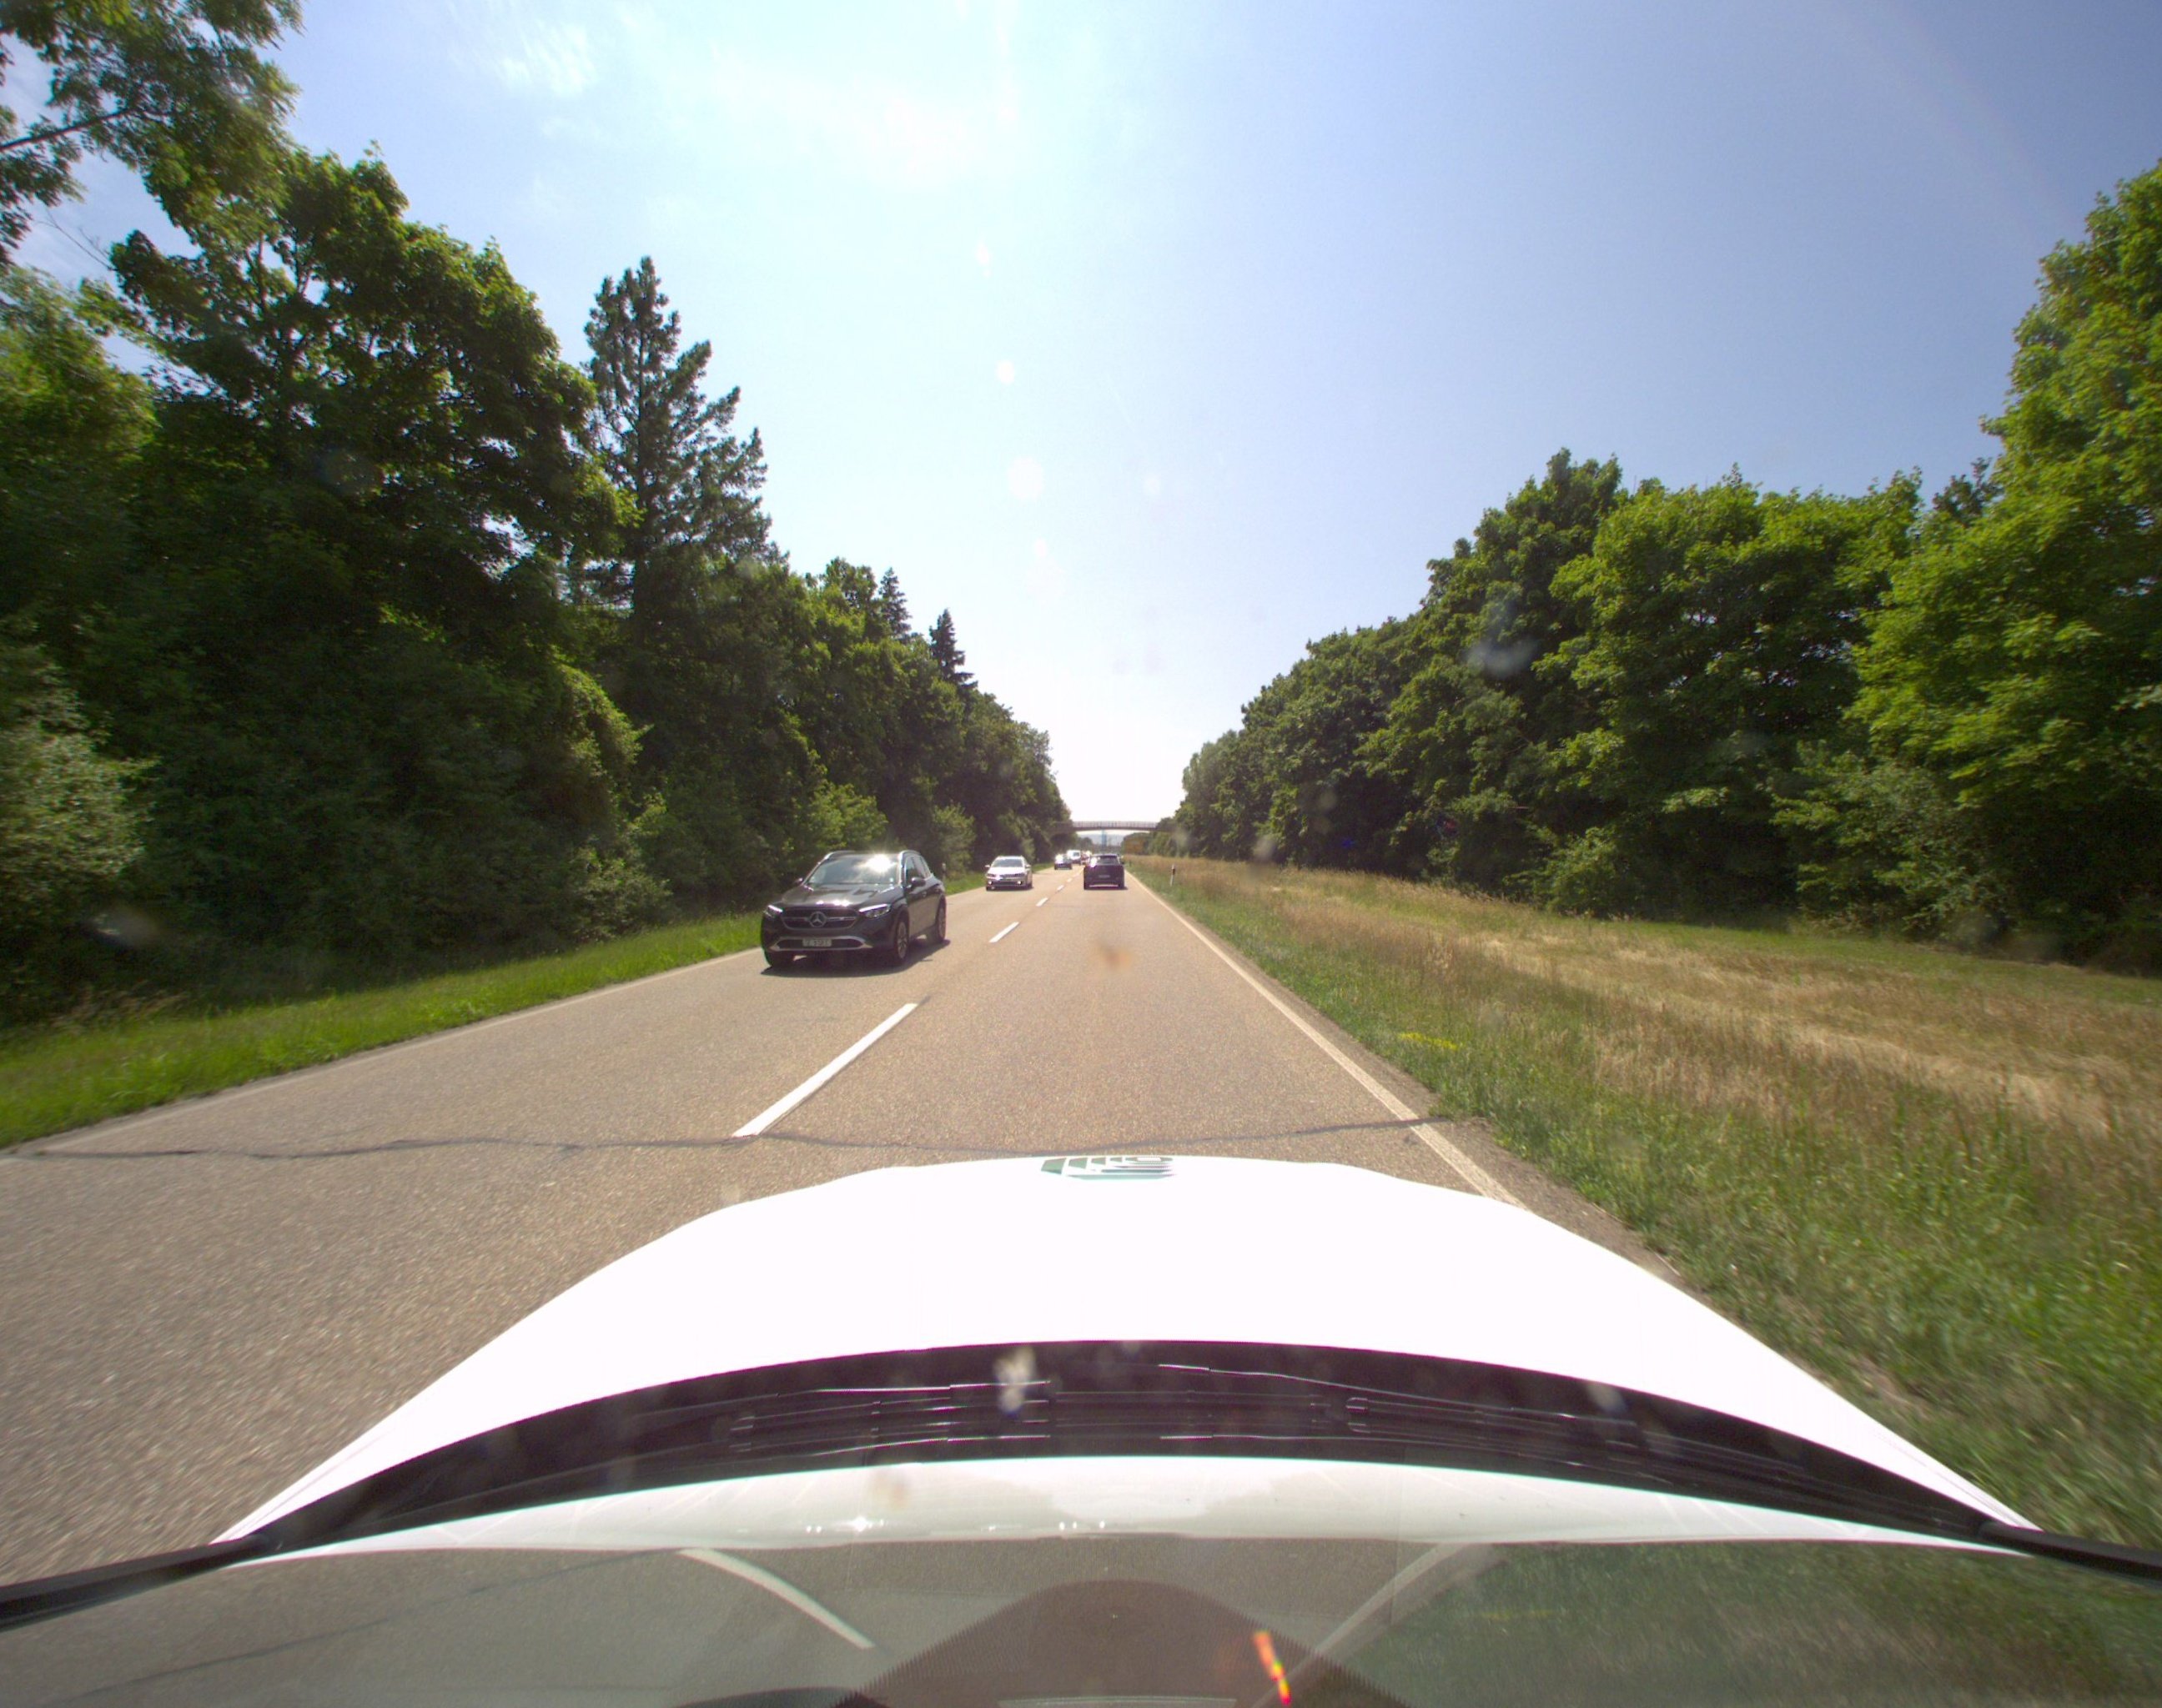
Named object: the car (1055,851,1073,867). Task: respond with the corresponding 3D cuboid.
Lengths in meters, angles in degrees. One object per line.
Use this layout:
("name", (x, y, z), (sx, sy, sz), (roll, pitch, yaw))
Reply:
("car", (-1.647, 0.499, 79.955), (1.666, 1.518, 4.000), (0, 0, 1))

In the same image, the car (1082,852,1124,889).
("car", (1.032, 0.696, 36.314), (1.748, 1.556, 4.003), (0, 0, 3))

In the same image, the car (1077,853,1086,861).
("car", (0.112, 0.584, 160.497), (1.676, 1.493, 4.002), (-1, 0, 2))

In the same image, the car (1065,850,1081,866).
("car", (-0.989, 0.524, 105.024), (1.868, 1.929, 4.989), (-1, 0, 1))

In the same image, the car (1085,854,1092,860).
("car", (2.087, 0.825, 217.223), (1.671, 1.433, 3.775), (-2, 0, 3))

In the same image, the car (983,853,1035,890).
("car", (-3.176, 0.732, 36.573), (1.833, 1.536, 4.659), (-1, 0, 1))

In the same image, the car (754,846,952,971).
("car", (-3.355, 0.718, 12.899), (1.859, 1.624, 4.201), (-1, 0, 1))

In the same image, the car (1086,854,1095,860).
("car", (2.205, 0.680, 186.391), (1.776, 1.449, 4.113), (-1, 0, 3))
